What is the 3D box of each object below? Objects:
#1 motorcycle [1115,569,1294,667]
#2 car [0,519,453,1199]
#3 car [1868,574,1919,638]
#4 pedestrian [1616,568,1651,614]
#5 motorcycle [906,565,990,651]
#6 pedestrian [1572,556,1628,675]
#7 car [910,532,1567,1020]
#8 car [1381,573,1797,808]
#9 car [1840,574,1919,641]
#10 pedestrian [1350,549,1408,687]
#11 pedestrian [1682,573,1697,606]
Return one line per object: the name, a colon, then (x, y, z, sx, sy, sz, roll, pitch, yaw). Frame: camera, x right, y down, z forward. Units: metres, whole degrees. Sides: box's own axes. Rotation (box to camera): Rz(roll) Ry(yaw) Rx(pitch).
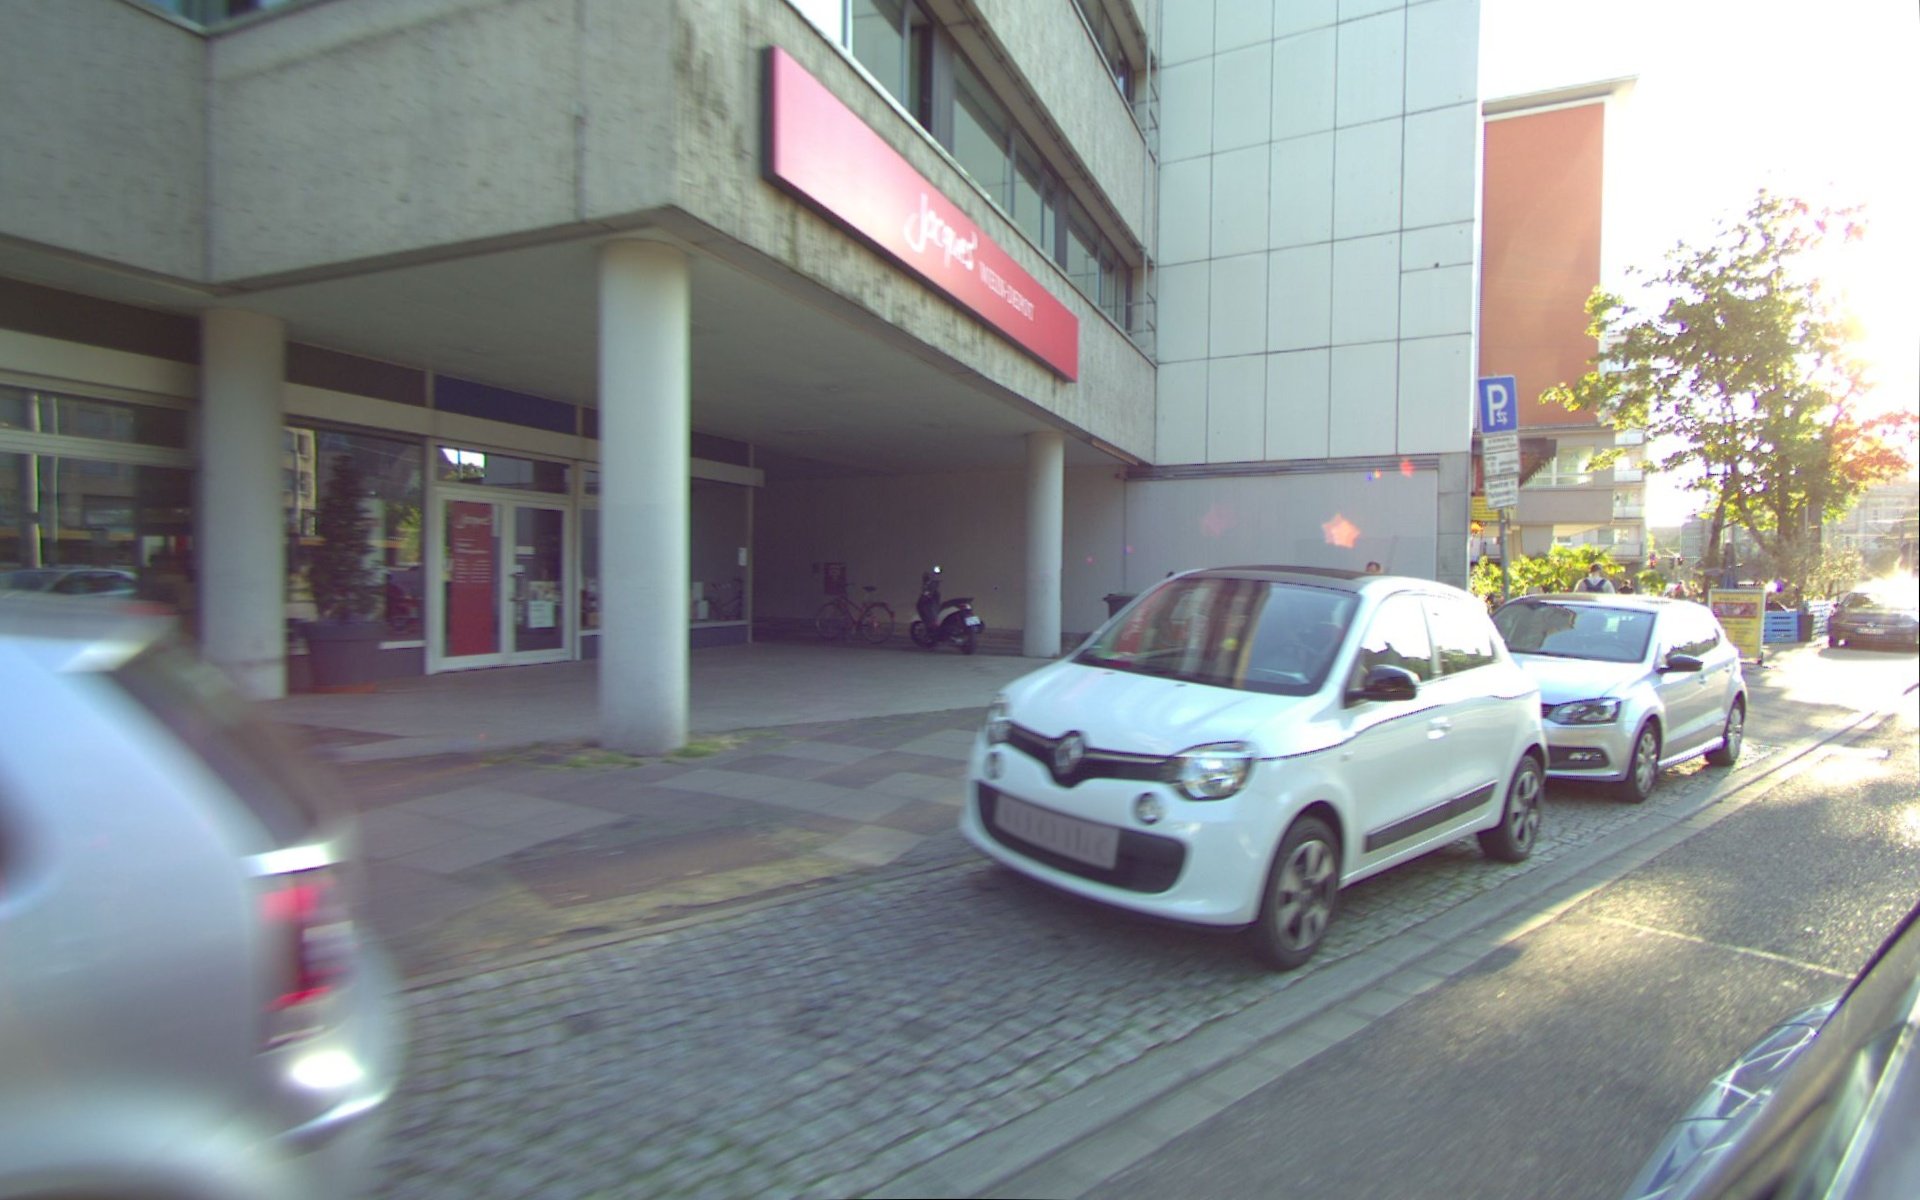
motorcycle: (3.271, 0.202, 13.691, 2.272, 1.205, 0.695, 2, 2, 40)
car: (-2.866, 0.678, 1.040, 3.930, 1.547, 1.644, -1, 1, -41)
car: (27.129, 0.135, 28.701, 4.734, 1.691, 1.805, -1, 1, -45)
pedestrian: (26.025, -0.353, 39.107, 0.882, 1.747, 0.769, 2, 1, 18)
motorcycle: (-0.227, 0.094, 16.490, 0.655, 1.309, 1.800, 0, 2, -25)
pedestrian: (10.041, 0.233, 15.906, 0.634, 1.808, 0.849, 0, 0, 25)
car: (1.629, 0.553, 5.162, 3.606, 1.611, 1.586, -1, 1, -43)
car: (5.346, 0.530, 8.416, 3.929, 1.474, 1.789, -1, 2, -40)
car: (23.312, 0.137, 25.247, 3.998, 1.554, 1.652, -1, 1, -43)
pedestrian: (5.214, 0.209, 12.581, 0.634, 1.647, 0.849, 0, 0, 25)
pedestrian: (37.552, -0.551, 52.087, 0.514, 1.714, 0.765, 0, 0, 29)
